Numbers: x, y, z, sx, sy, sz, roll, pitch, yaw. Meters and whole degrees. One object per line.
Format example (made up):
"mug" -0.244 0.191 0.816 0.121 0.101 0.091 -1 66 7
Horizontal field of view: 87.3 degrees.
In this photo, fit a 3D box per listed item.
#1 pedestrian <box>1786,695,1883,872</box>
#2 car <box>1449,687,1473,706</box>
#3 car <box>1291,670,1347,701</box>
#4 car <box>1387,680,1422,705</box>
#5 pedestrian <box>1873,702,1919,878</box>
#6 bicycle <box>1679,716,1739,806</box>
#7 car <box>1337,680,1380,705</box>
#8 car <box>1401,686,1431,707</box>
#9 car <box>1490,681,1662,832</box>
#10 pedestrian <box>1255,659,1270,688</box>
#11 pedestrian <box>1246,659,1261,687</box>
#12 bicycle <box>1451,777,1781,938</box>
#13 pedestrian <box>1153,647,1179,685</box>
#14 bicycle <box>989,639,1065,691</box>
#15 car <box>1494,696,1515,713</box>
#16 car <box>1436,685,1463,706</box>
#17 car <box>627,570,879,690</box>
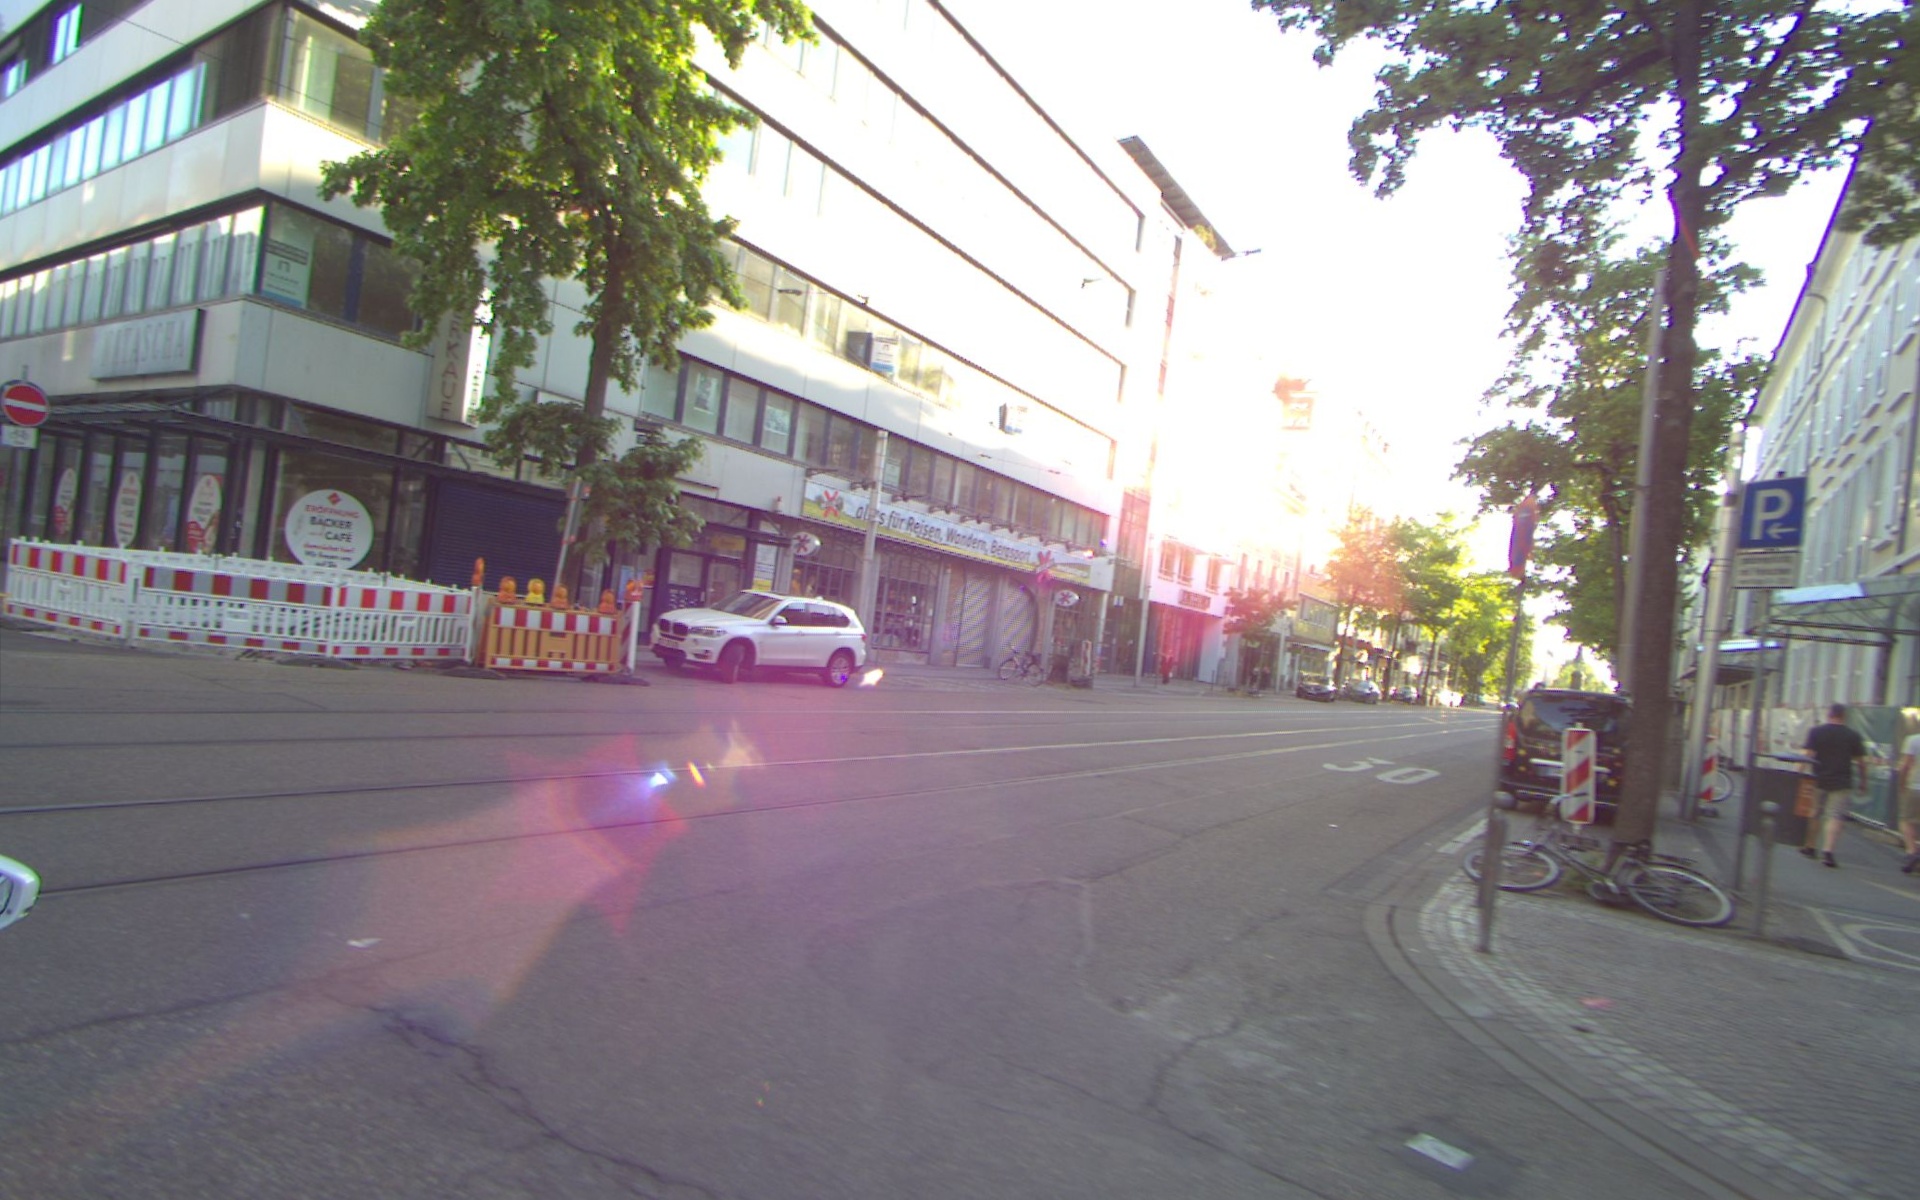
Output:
"pedestrian" 10.166 2.097 11.723 0.669 1.907 0.767 4 -1 35
"car" 53.392 10.266 107.135 1.711 1.758 4.096 6 -2 33
"car" 20.495 4.869 57.317 1.972 1.378 4.096 8 -1 34
"car" 35.228 7.361 79.707 1.872 1.712 4.099 6 -2 31
"pedestrian" 10.959 2.148 11.366 0.748 1.907 0.877 4 -1 35
"bicycle" 14.582 3.099 19.628 0.692 1.569 2.180 5 -3 33
"car" 25.898 6.014 65.242 1.711 1.335 4.097 9 0 33
"car" 38.184 8.093 84.208 1.660 1.497 3.839 6 -2 32
"car" 9.234 2.231 14.945 1.748 1.785 3.866 3 -3 37
"pedestrian" 17.576 4.271 58.386 0.470 1.575 0.746 7 1 34
"pedestrian" 17.110 4.241 58.720 0.470 1.566 0.746 7 0 34
"bicycle" 5.176 2.007 8.177 2.041 0.714 1.329 5 -2 28
"pedestrian" 9.283 2.983 45.360 0.719 1.578 0.836 7 1 36
"bicycle" 2.002 1.942 30.202 2.134 1.173 0.758 9 2 40
"car" 64.682 12.377 119.539 1.711 1.758 4.096 6 -2 33
"car" 47.224 9.224 97.043 1.711 1.758 4.096 6 -2 33
"car" -3.968 0.673 20.095 1.969 1.792 4.658 9 0 36
